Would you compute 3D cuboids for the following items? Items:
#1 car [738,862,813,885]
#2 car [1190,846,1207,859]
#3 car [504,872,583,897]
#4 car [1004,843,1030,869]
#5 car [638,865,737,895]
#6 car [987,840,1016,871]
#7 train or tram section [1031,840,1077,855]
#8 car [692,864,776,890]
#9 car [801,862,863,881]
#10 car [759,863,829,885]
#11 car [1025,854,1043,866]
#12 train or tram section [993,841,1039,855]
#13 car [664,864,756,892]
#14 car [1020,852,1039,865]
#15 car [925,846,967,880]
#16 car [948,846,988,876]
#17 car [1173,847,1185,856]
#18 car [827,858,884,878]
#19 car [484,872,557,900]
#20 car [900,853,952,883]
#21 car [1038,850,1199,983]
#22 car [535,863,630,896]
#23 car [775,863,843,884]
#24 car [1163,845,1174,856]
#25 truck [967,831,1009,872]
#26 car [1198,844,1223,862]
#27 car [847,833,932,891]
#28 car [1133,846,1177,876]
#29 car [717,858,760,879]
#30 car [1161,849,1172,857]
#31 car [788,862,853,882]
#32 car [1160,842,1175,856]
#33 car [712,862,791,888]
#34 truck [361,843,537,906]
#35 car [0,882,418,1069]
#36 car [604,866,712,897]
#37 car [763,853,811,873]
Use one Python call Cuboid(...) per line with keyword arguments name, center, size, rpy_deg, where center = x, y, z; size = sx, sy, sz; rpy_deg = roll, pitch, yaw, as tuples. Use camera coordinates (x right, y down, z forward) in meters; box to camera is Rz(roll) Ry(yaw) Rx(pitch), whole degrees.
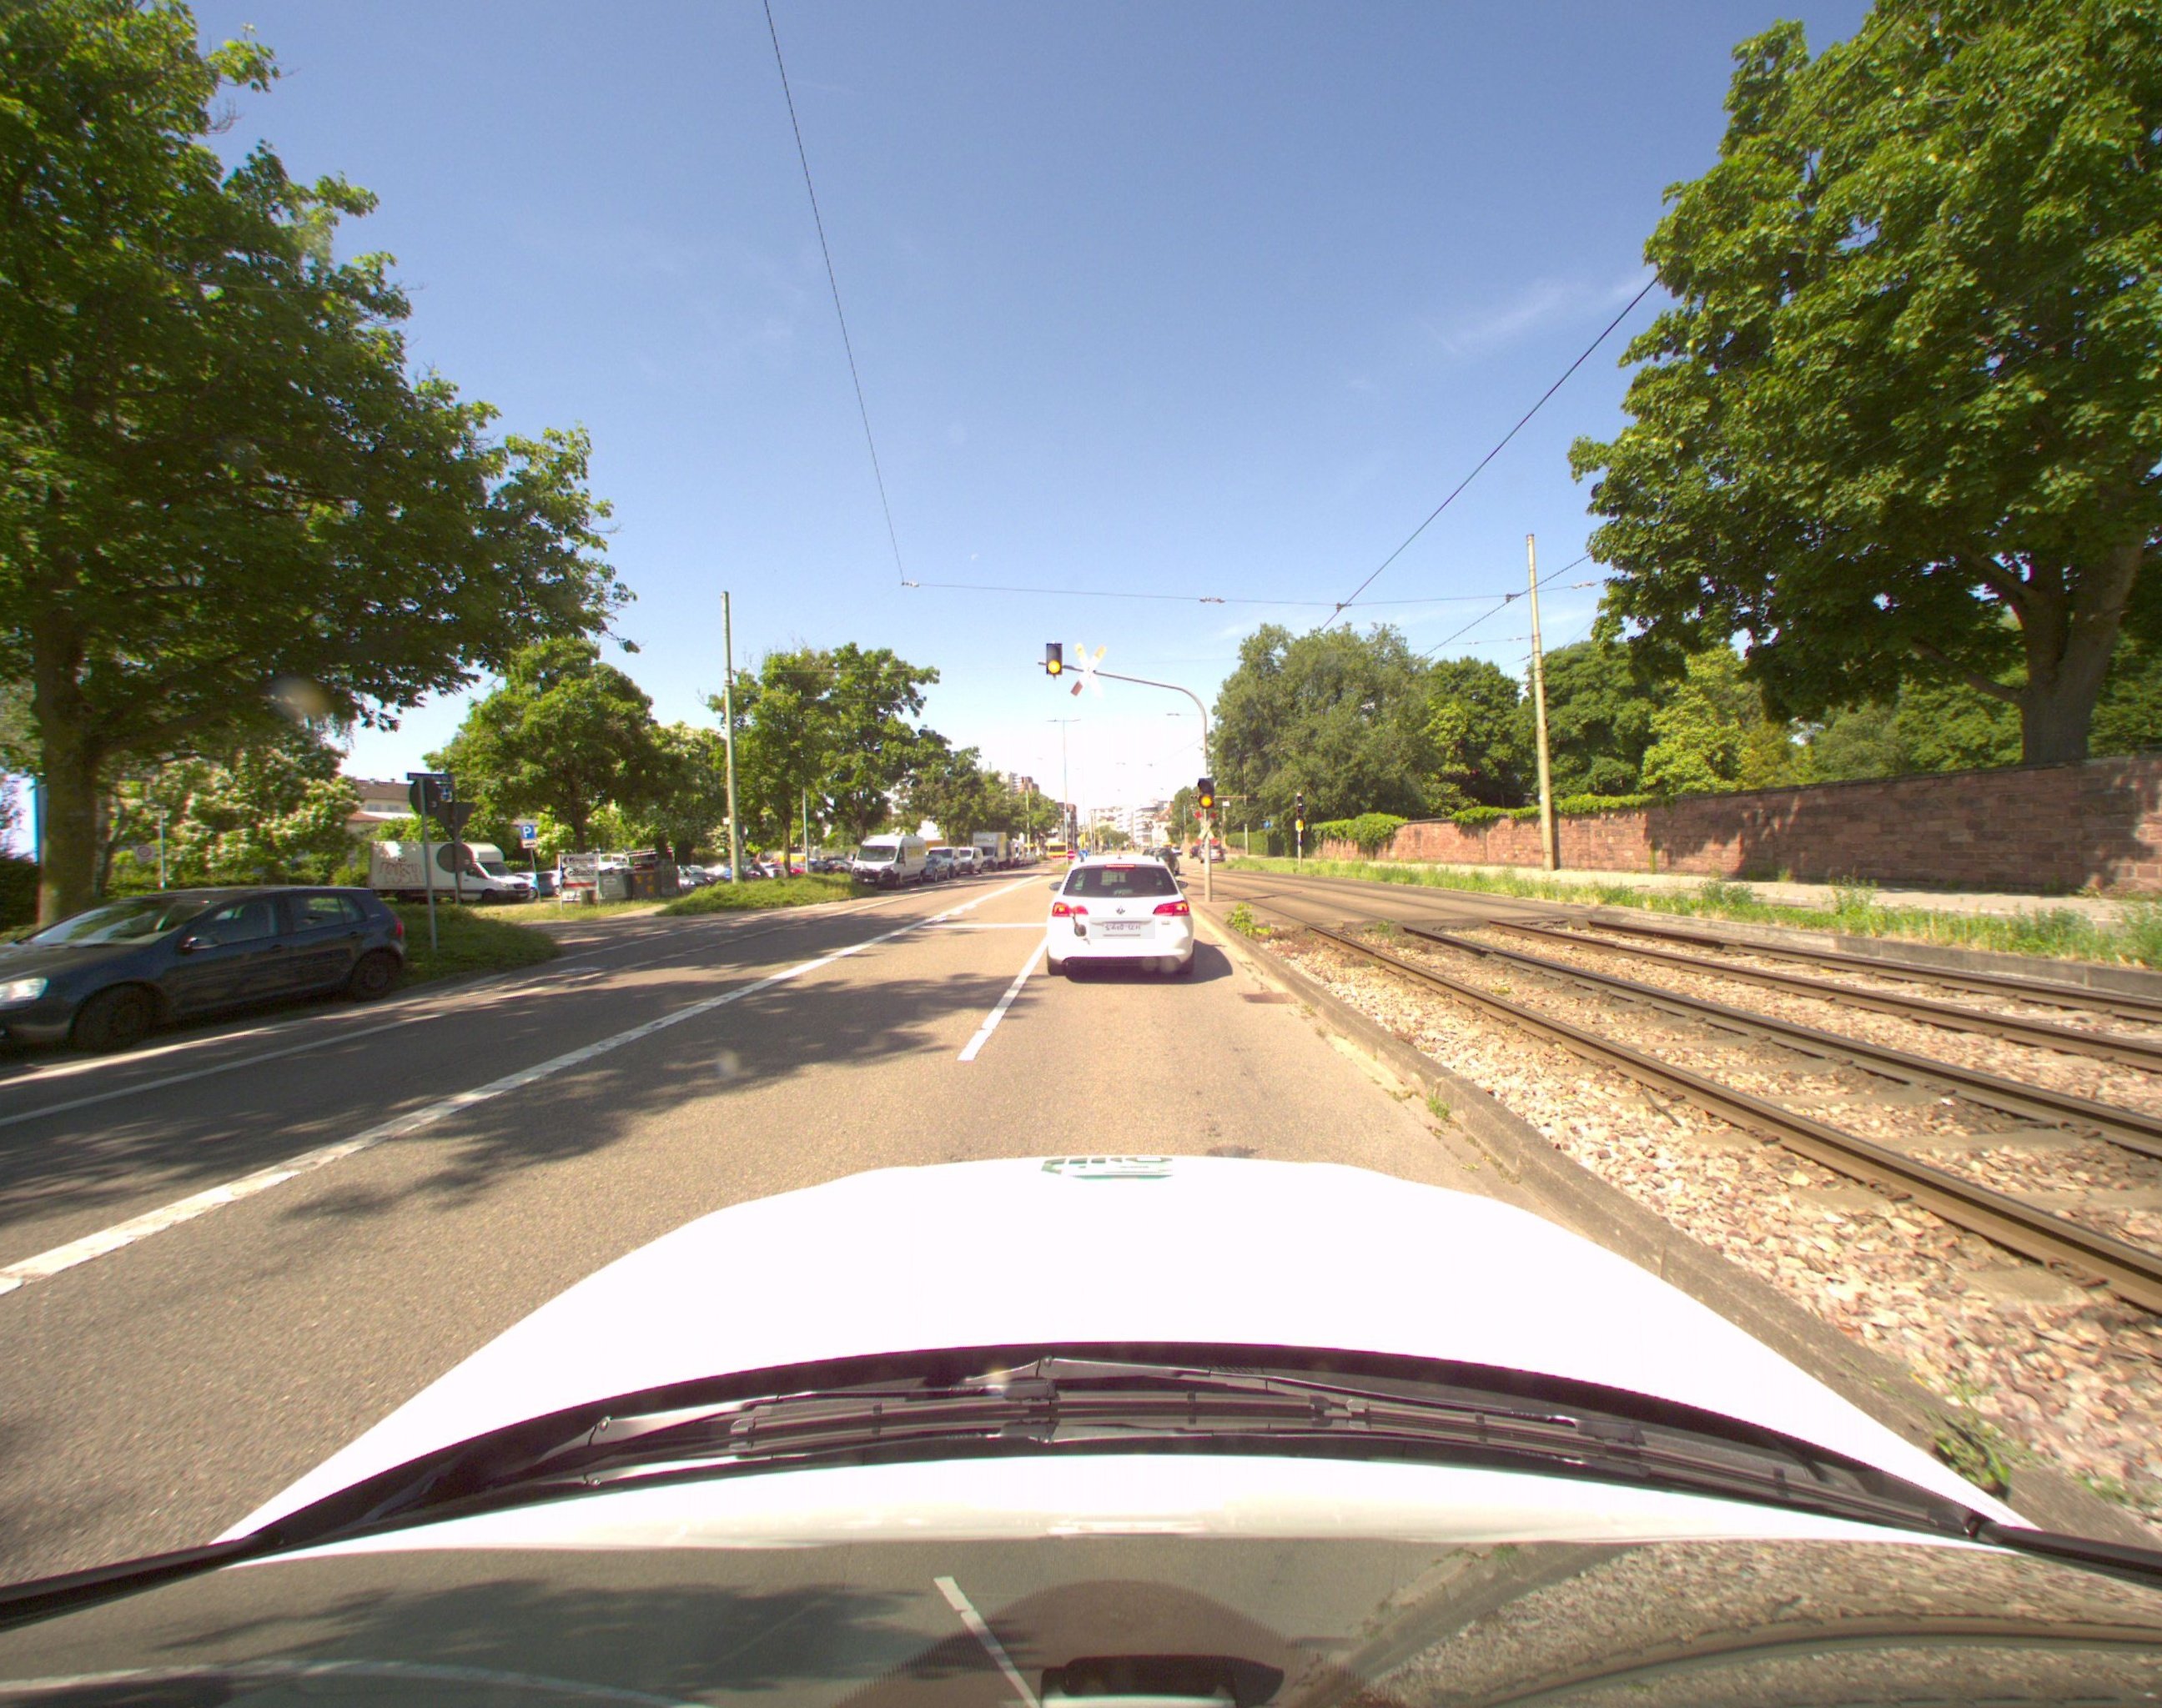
Cuboid(name="car", center=(-19.180, 1.216, 51.151), size=(3.968, 1.264, 1.774), rpy_deg=(-2, 0, 4))
Cuboid(name="car", center=(13.307, -0.213, 92.239), size=(1.737, 1.407, 3.919), rpy_deg=(0, 0, 5))
Cuboid(name="car", center=(-32.284, 1.806, 48.967), size=(3.754, 1.356, 1.560), rpy_deg=(1, 1, 6))
Cuboid(name="car", center=(-6.539, 0.195, 83.371), size=(1.836, 2.494, 5.861), rpy_deg=(-2, 0, 3))
Cuboid(name="car", center=(-19.321, 1.266, 40.107), size=(3.973, 1.225, 1.771), rpy_deg=(-2, 0, 0))
Cuboid(name="car", center=(-7.262, 0.131, 74.611), size=(1.836, 2.668, 5.007), rpy_deg=(-2, 0, 3))
Cuboid(name="train or tram section", center=(-6.082, -1.340, 183.107), size=(11.128, 3.253, 2.323), rpy_deg=(0, -1, 35))
Cuboid(name="car", center=(-19.605, 1.284, 46.115), size=(3.968, 1.225, 1.774), rpy_deg=(-2, 0, 4))
Cuboid(name="car", center=(-18.534, 1.288, 60.780), size=(3.968, 1.225, 1.774), rpy_deg=(-2, 0, 4))
Cuboid(name="car", center=(-18.933, 1.312, 53.818), size=(3.968, 1.225, 1.774), rpy_deg=(-2, 0, 4))
Cuboid(name="car", center=(-5.907, 0.727, 103.078), size=(1.773, 1.433, 4.040), rpy_deg=(-2, 0, 2))
Cuboid(name="train or tram section", center=(-15.070, -1.340, 188.042), size=(10.677, 3.253, 2.321), rpy_deg=(0, -1, 22))
Cuboid(name="car", center=(-19.462, 1.254, 42.858), size=(3.968, 1.225, 1.774), rpy_deg=(-2, 0, 4))
Cuboid(name="car", center=(-6.150, 0.562, 97.751), size=(1.836, 1.433, 4.040), rpy_deg=(-2, 0, 2))
Cuboid(name="car", center=(-8.534, 0.526, 51.948), size=(1.838, 1.937, 5.191), rpy_deg=(-2, 0, -1))
Cuboid(name="car", center=(-8.089, 0.454, 58.563), size=(1.836, 1.960, 5.138), rpy_deg=(-2, 0, 3))
Cuboid(name="car", center=(15.244, -0.418, 126.810), size=(1.575, 1.346, 3.456), rpy_deg=(0, 0, 2))
Cuboid(name="car", center=(-18.244, 1.129, 65.915), size=(3.968, 1.444, 1.774), rpy_deg=(-2, 0, 4))
Cuboid(name="car", center=(-31.957, 1.806, 46.457), size=(3.117, 1.432, 1.560), rpy_deg=(1, 1, 6))
Cuboid(name="car", center=(-8.520, 0.724, 45.085), size=(1.836, 1.516, 4.199), rpy_deg=(-2, 0, 2))
Cuboid(name="car", center=(0.464, 0.670, 10.881), size=(1.761, 1.446, 3.914), rpy_deg=(0, 0, 1))
Cuboid(name="car", center=(-31.489, 1.589, 51.585), size=(4.682, 2.014, 1.998), rpy_deg=(0, 0, -3))
Cuboid(name="car", center=(-18.775, 1.333, 56.269), size=(3.968, 1.225, 1.774), rpy_deg=(-2, 0, 4))
Cuboid(name="car", center=(15.238, -0.645, 141.508), size=(1.684, 1.812, 3.456), rpy_deg=(0, 0, 2))
Cuboid(name="truck", center=(-7.532, -0.189, 67.021), size=(2.347, 3.122, 6.894), rpy_deg=(-2, 0, 2))
Cuboid(name="car", center=(10.425, -0.113, 65.215), size=(1.849, 1.416, 4.338), rpy_deg=(0, 0, 11))
Cuboid(name="car", center=(-9.019, 0.311, 39.033), size=(2.049, 2.501, 6.316), rpy_deg=(1, 1, 5))
Cuboid(name="car", center=(3.624, 0.306, 39.098), size=(1.735, 1.388, 3.925), rpy_deg=(0, 0, 10))
Cuboid(name="car", center=(-33.362, 1.414, 79.310), size=(3.411, 1.876, 1.552), rpy_deg=(-2, 0, 0))
Cuboid(name="car", center=(16.965, -0.204, 162.181), size=(1.985, 1.596, 4.003), rpy_deg=(0, 0, 3))
Cuboid(name="car", center=(-18.742, 1.307, 58.665), size=(3.968, 1.225, 1.774), rpy_deg=(-2, 0, 4))
Cuboid(name="car", center=(16.170, -0.906, 152.122), size=(2.453, 2.499, 5.913), rpy_deg=(0, 0, 2))
Cuboid(name="car", center=(-19.627, 1.230, 48.601), size=(3.968, 1.350, 1.774), rpy_deg=(-2, 0, 4))
Cuboid(name="truck", center=(-31.926, 1.019, 41.319), size=(7.118, 3.019, 2.231), rpy_deg=(1, 0, 0))
Cuboid(name="car", center=(-9.900, 1.117, 9.041), size=(1.634, 1.450, 4.008), rpy_deg=(0, 0, 3))
Cuboid(name="car", center=(-19.487, 1.248, 37.604), size=(3.973, 1.225, 1.771), rpy_deg=(-2, 0, 0))
Cuboid(name="car", center=(-30.412, 0.907, 84.256), size=(4.248, 2.014, 1.997), rpy_deg=(0, 0, -4))
